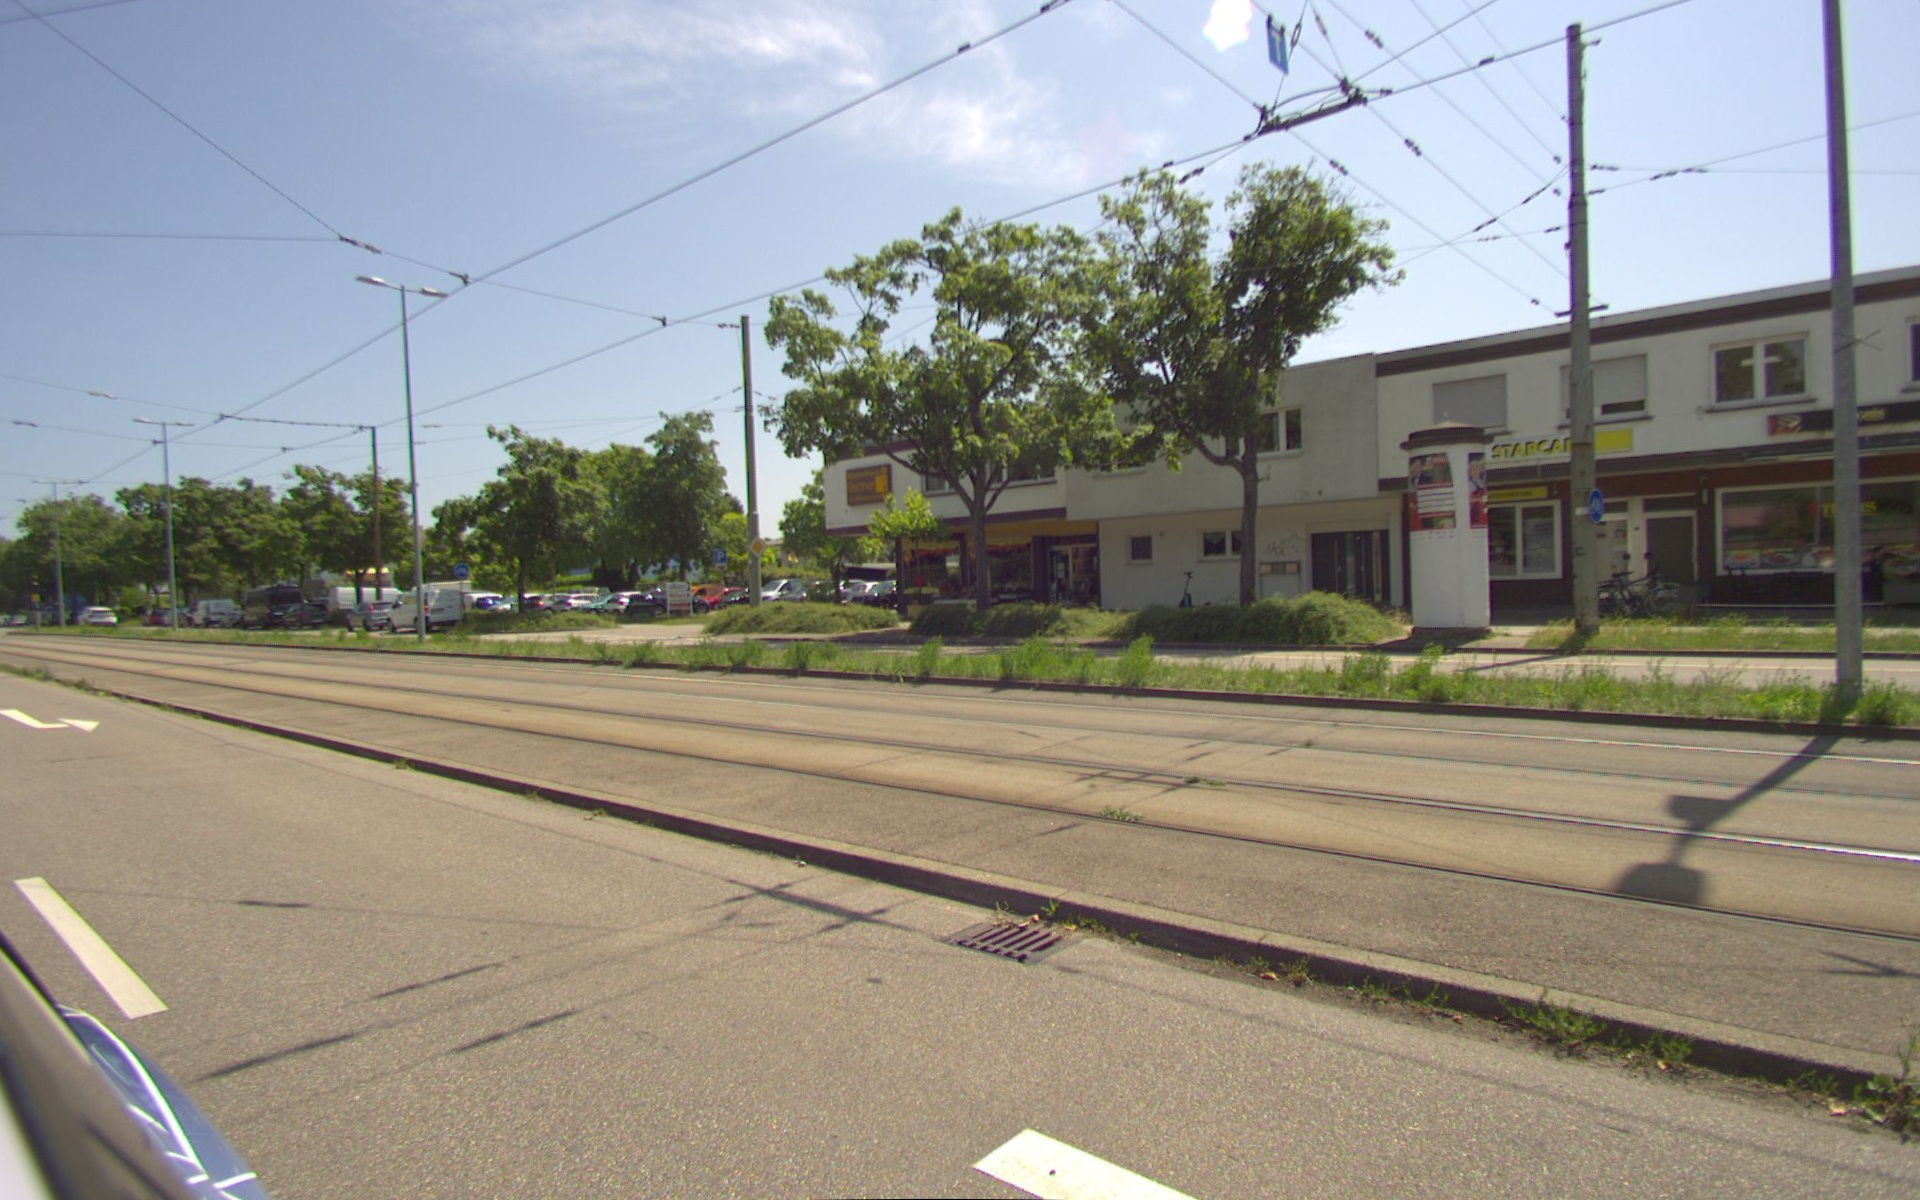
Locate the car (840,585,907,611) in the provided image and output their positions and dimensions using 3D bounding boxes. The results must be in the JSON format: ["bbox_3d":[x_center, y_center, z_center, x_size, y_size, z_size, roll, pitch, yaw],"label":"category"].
[{"bbox_3d":[-5.164,-0.118,60.865,1.661,1.531,3.943,0,0,43],"label":"car"}]

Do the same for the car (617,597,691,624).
[{"bbox_3d":[-15.872,0.541,52.617,1.639,1.241,3.386,-1,1,34],"label":"car"}]

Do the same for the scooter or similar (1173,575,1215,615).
[{"bbox_3d":[7.196,-0.152,31.177,0.448,1.200,1.349,-1,0,-29],"label":"scooter or similar"}]

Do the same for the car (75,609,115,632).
[{"bbox_3d":[-64.762,1.520,75.758,4.569,1.622,1.705,0,0,42],"label":"car"}]

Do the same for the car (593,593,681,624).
[{"bbox_3d":[-17.445,0.425,54.742,1.983,1.501,4.120,-1,1,39],"label":"car"}]

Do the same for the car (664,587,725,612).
[{"bbox_3d":[-18.943,-0.072,72.435,1.689,1.665,4.082,-1,0,35],"label":"car"}]

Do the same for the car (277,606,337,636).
[{"bbox_3d":[-37.081,1.162,57.467,3.751,1.589,1.950,0,0,42],"label":"car"}]

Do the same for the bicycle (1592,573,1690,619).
[{"bbox_3d":[15.070,-0.092,22.431,1.758,0.986,0.533,0,0,41],"label":"bicycle"}]

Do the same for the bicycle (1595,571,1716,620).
[{"bbox_3d":[14.488,-0.082,21.129,2.028,0.986,0.604,0,0,41],"label":"bicycle"}]

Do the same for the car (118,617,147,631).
[{"bbox_3d":[-73.715,2.165,90.107,3.423,1.167,1.561,0,0,43],"label":"car"}]

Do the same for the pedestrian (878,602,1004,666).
[{"bbox_3d":[-0.677,1.091,34.589,3.997,2.029,1.973,0,0,40],"label":"pedestrian"}]

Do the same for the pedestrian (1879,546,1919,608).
[{"bbox_3d":[19.930,-0.471,21.295,0.842,1.278,0.583,0,0,41],"label":"pedestrian"}]

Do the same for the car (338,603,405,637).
[{"bbox_3d":[-29.615,1.004,50.905,4.124,1.513,1.633,-1,4,42],"label":"car"}]

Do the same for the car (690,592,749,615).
[{"bbox_3d":[-16.895,0.226,71.319,1.712,1.505,3.953,0,0,35],"label":"car"}]

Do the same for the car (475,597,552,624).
[{"bbox_3d":[-27.614,0.620,62.640,1.862,1.499,3.955,-1,1,34],"label":"car"}]

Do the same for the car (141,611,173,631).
[{"bbox_3d":[-64.912,1.676,81.796,3.423,1.491,1.561,0,0,43],"label":"car"}]

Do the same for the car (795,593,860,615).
[{"bbox_3d":[-8.064,0.230,61.844,1.764,1.294,3.675,0,0,43],"label":"car"}]

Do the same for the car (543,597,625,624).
[{"bbox_3d":[-21.473,0.576,57.930,1.855,1.501,4.099,0,0,34],"label":"car"}]

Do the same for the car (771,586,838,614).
[{"bbox_3d":[-9.790,-0.021,63.996,1.804,1.669,3.943,0,0,43],"label":"car"}]

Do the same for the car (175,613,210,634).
[{"bbox_3d":[-56.429,1.718,74.403,3.261,1.489,1.411,0,0,41],"label":"car"}]

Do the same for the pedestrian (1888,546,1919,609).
[{"bbox_3d":[19.479,-0.459,20.607,0.842,1.278,0.583,0,0,41],"label":"pedestrian"}]

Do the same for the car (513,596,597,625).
[{"bbox_3d":[-23.626,0.579,59.114,2.018,1.501,4.117,-1,1,34],"label":"car"}]

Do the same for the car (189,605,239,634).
[{"bbox_3d":[-52.151,1.349,70.688,4.816,1.963,1.899,0,0,42],"label":"car"}]

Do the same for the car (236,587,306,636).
[{"bbox_3d":[-41.959,0.647,61.567,5.666,2.859,2.214,0,0,42],"label":"car"}]

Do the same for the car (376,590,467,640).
[{"bbox_3d":[-24.907,0.677,46.746,5.342,2.025,1.856,-1,4,42],"label":"car"}]

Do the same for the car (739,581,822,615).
[{"bbox_3d":[-11.572,-0.136,65.643,2.225,2.085,5.055,0,0,41],"label":"car"}]

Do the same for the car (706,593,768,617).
[{"bbox_3d":[-15.214,0.315,69.147,1.683,1.597,3.948,0,0,39],"label":"car"}]

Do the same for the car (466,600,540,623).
[{"bbox_3d":[-29.295,0.741,64.930,1.794,1.417,3.950,-1,0,37],"label":"car"}]

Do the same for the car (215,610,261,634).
[{"bbox_3d":[-47.854,1.428,67.039,3.608,1.475,1.744,0,0,42],"label":"car"}]

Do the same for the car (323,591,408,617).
[{"bbox_3d":[-46.171,0.299,78.661,2.029,1.970,5.363,0,0,42],"label":"car"}]

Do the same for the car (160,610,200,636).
[{"bbox_3d":[-59.903,1.763,77.689,4.494,1.907,1.614,0,0,41],"label":"car"}]

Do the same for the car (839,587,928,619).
[{"bbox_3d":[-3.488,0.126,46.604,1.682,1.306,3.944,-2,1,42],"label":"car"}]

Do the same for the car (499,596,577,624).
[{"bbox_3d":[-25.501,0.596,61.282,1.827,1.501,4.030,-1,1,34],"label":"car"}]

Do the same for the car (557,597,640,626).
[{"bbox_3d":[-19.940,0.599,55.935,1.908,1.501,3.995,0,0,34],"label":"car"}]

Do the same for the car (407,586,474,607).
[{"bbox_3d":[-52.559,-0.377,102.405,2.145,2.078,5.674,0,0,38],"label":"car"}]

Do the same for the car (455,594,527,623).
[{"bbox_3d":[-31.027,0.545,67.003,1.794,1.730,3.951,-1,1,37],"label":"car"}]
